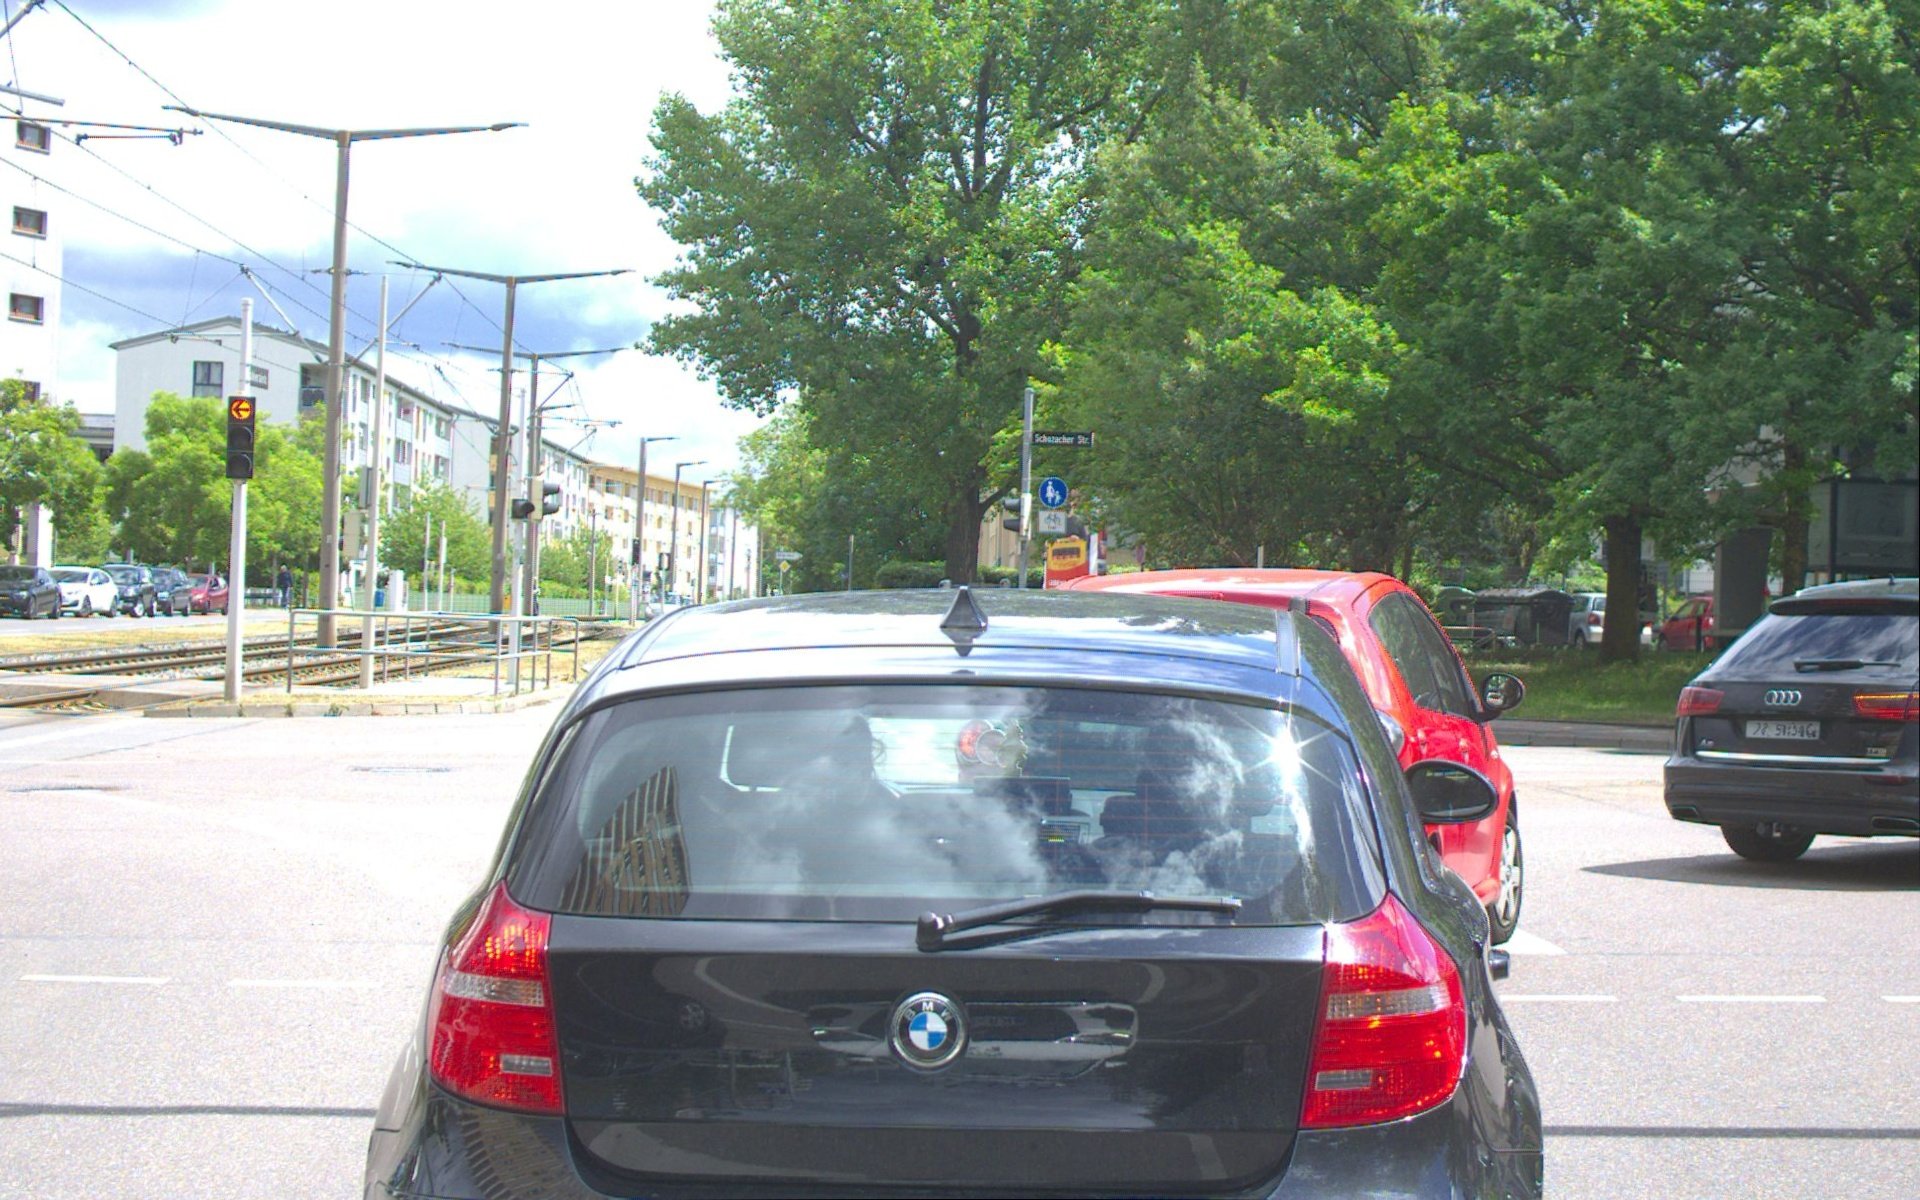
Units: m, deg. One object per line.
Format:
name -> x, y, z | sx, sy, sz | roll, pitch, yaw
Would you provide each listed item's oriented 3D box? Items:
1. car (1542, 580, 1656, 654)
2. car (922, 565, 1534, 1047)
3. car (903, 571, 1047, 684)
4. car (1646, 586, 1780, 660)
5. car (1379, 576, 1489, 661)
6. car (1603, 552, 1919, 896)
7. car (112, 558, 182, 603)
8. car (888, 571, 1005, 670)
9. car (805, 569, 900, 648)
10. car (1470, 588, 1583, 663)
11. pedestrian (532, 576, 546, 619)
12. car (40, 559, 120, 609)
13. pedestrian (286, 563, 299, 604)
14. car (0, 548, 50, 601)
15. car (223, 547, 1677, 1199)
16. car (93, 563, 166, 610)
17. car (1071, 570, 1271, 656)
car -> 14.650, 0.370, 78.988 | 1.630, 1.589, 4.001 | 1, 1, -3
car -> 1.073, 0.612, 12.252 | 1.543, 1.436, 3.193 | 1, 1, 16
car -> 0.216, 0.419, 54.221 | 2.152, 1.678, 4.000 | 1, 0, 0
car -> 17.348, 0.501, 79.375 | 1.730, 1.589, 4.001 | 1, 1, -8
car -> 10.547, 0.391, 76.751 | 1.630, 1.804, 4.033 | 1, 1, -3
car -> 5.501, 0.564, 17.636 | 4.508, 1.548, 1.999 | 0, 1, -42
car -> -26.514, -0.652, 112.163 | 1.760, 1.390, 4.001 | 1, 1, -7
car -> -0.245, 0.369, 61.670 | 1.993, 1.678, 4.000 | 1, 0, 0
car -> -2.388, 0.163, 77.118 | 1.993, 1.678, 4.000 | 1, 1, 0
car -> 12.758, 0.553, 77.574 | 1.630, 1.567, 4.033 | 1, 1, -3
pedestrian -> -16.028, -0.097, 130.913 | 0.478, 1.631, 0.454 | 1, 1, -1
car -> -25.824, -0.479, 101.017 | 1.760, 1.390, 4.001 | 1, 1, -7
pedestrian -> -26.855, -0.651, 138.317 | 0.452, 1.631, 0.480 | 1, 1, -3
car -> -25.936, -0.704, 93.431 | 1.760, 1.390, 4.001 | 1, 1, -7
car -> -0.036, 0.669, 6.184 | 1.752, 1.482, 4.000 | 1, 1, 0
car -> -25.978, -0.439, 107.599 | 1.760, 1.390, 4.001 | 1, 1, -7
car -> 4.645, 0.281, 75.727 | 3.986, 1.817, 1.779 | 1, 1, -22
